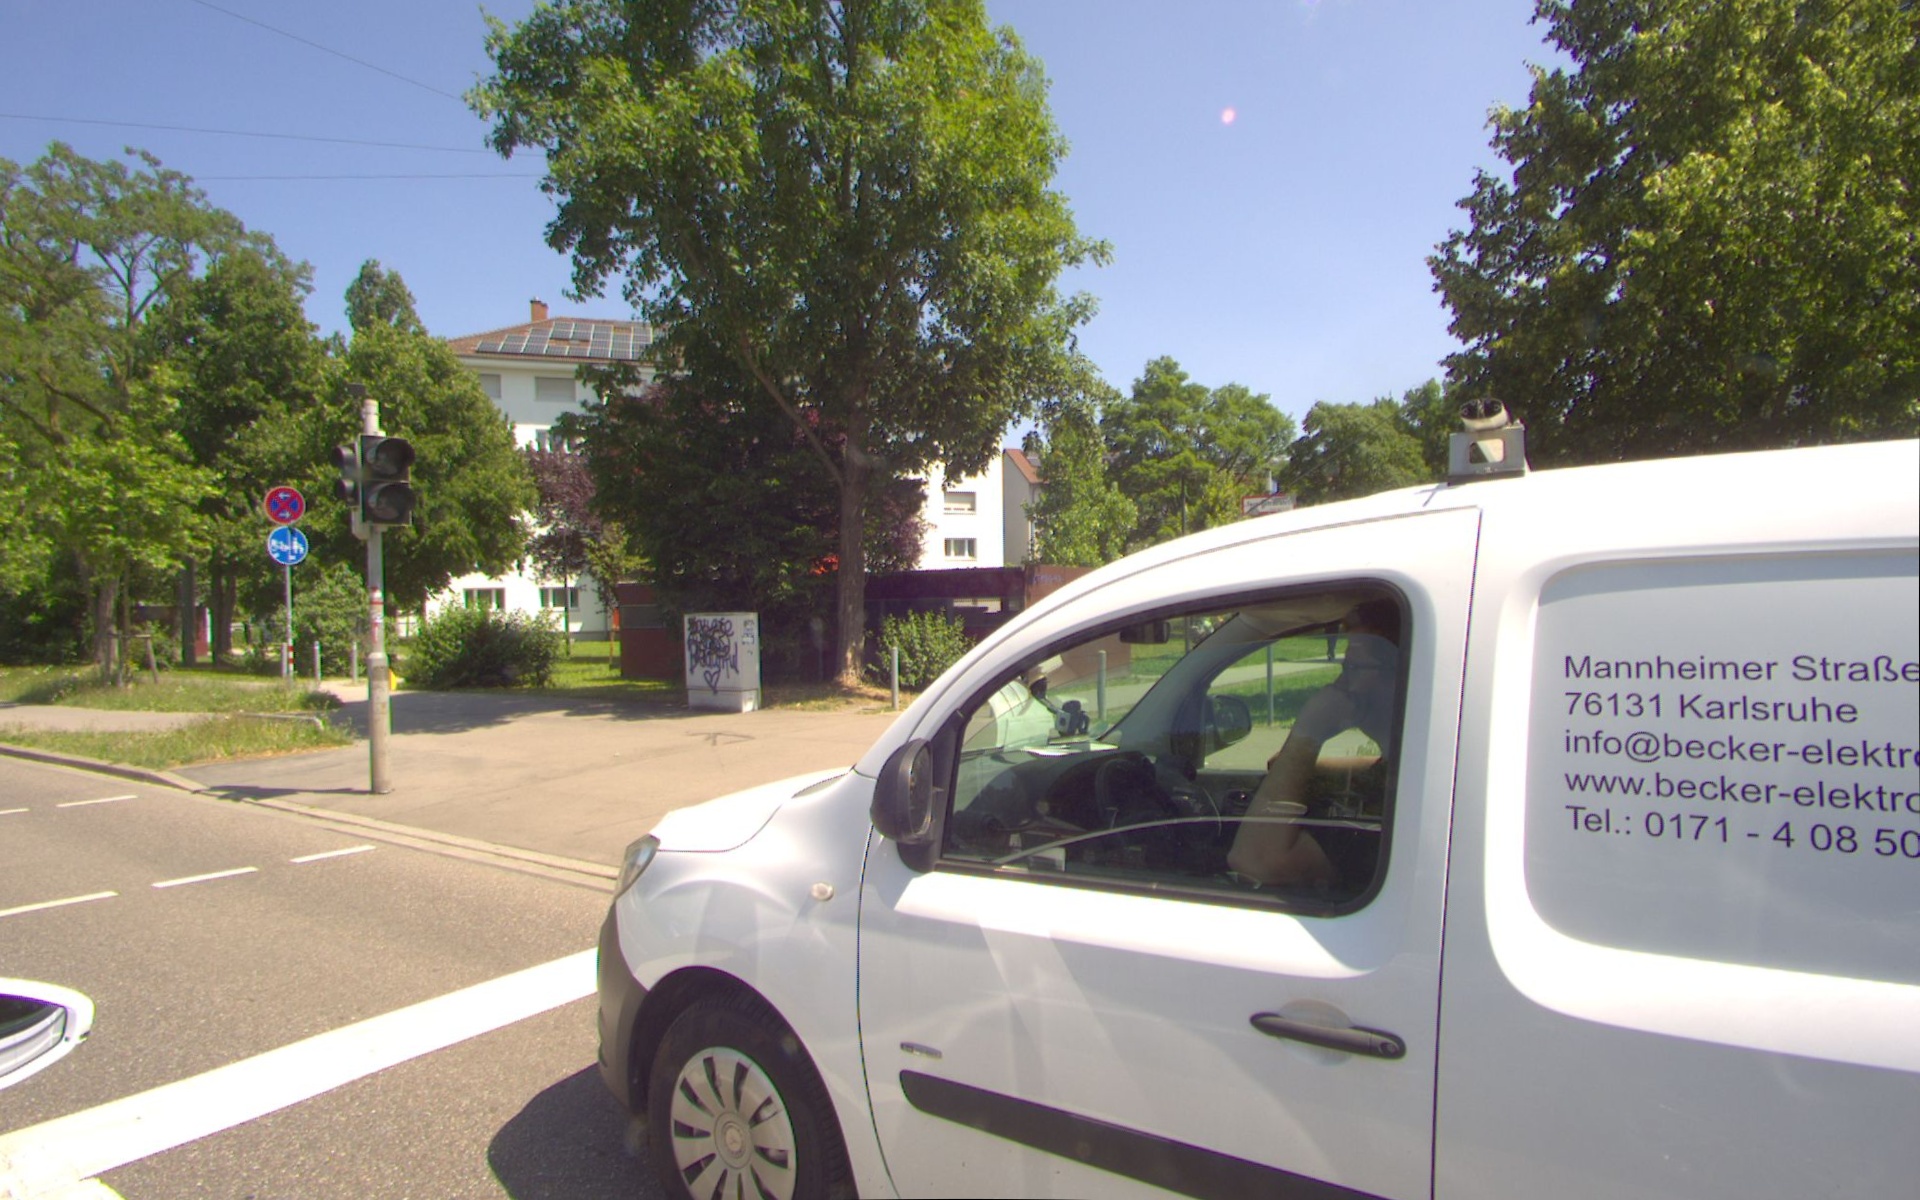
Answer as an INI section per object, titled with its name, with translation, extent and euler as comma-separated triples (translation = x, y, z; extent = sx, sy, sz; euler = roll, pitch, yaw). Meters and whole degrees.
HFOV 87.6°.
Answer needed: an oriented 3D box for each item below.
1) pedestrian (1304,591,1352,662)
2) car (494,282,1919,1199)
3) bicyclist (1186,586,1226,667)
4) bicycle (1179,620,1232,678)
[pedestrian]
translation = 9.680, 0.678, 26.333
extent = 0.829, 1.801, 1.180
euler = -2, 1, 36
[car]
translation = 1.162, 0.579, 2.284
extent = 4.384, 1.850, 1.990
euler = -1, -1, 32
[bicyclist]
translation = 5.259, 0.563, 21.398
extent = 0.572, 1.689, 0.955
euler = 0, 0, 32
[bicycle]
translation = 5.291, 1.021, 21.473
extent = 0.533, 1.176, 1.954
euler = 0, -1, 31
